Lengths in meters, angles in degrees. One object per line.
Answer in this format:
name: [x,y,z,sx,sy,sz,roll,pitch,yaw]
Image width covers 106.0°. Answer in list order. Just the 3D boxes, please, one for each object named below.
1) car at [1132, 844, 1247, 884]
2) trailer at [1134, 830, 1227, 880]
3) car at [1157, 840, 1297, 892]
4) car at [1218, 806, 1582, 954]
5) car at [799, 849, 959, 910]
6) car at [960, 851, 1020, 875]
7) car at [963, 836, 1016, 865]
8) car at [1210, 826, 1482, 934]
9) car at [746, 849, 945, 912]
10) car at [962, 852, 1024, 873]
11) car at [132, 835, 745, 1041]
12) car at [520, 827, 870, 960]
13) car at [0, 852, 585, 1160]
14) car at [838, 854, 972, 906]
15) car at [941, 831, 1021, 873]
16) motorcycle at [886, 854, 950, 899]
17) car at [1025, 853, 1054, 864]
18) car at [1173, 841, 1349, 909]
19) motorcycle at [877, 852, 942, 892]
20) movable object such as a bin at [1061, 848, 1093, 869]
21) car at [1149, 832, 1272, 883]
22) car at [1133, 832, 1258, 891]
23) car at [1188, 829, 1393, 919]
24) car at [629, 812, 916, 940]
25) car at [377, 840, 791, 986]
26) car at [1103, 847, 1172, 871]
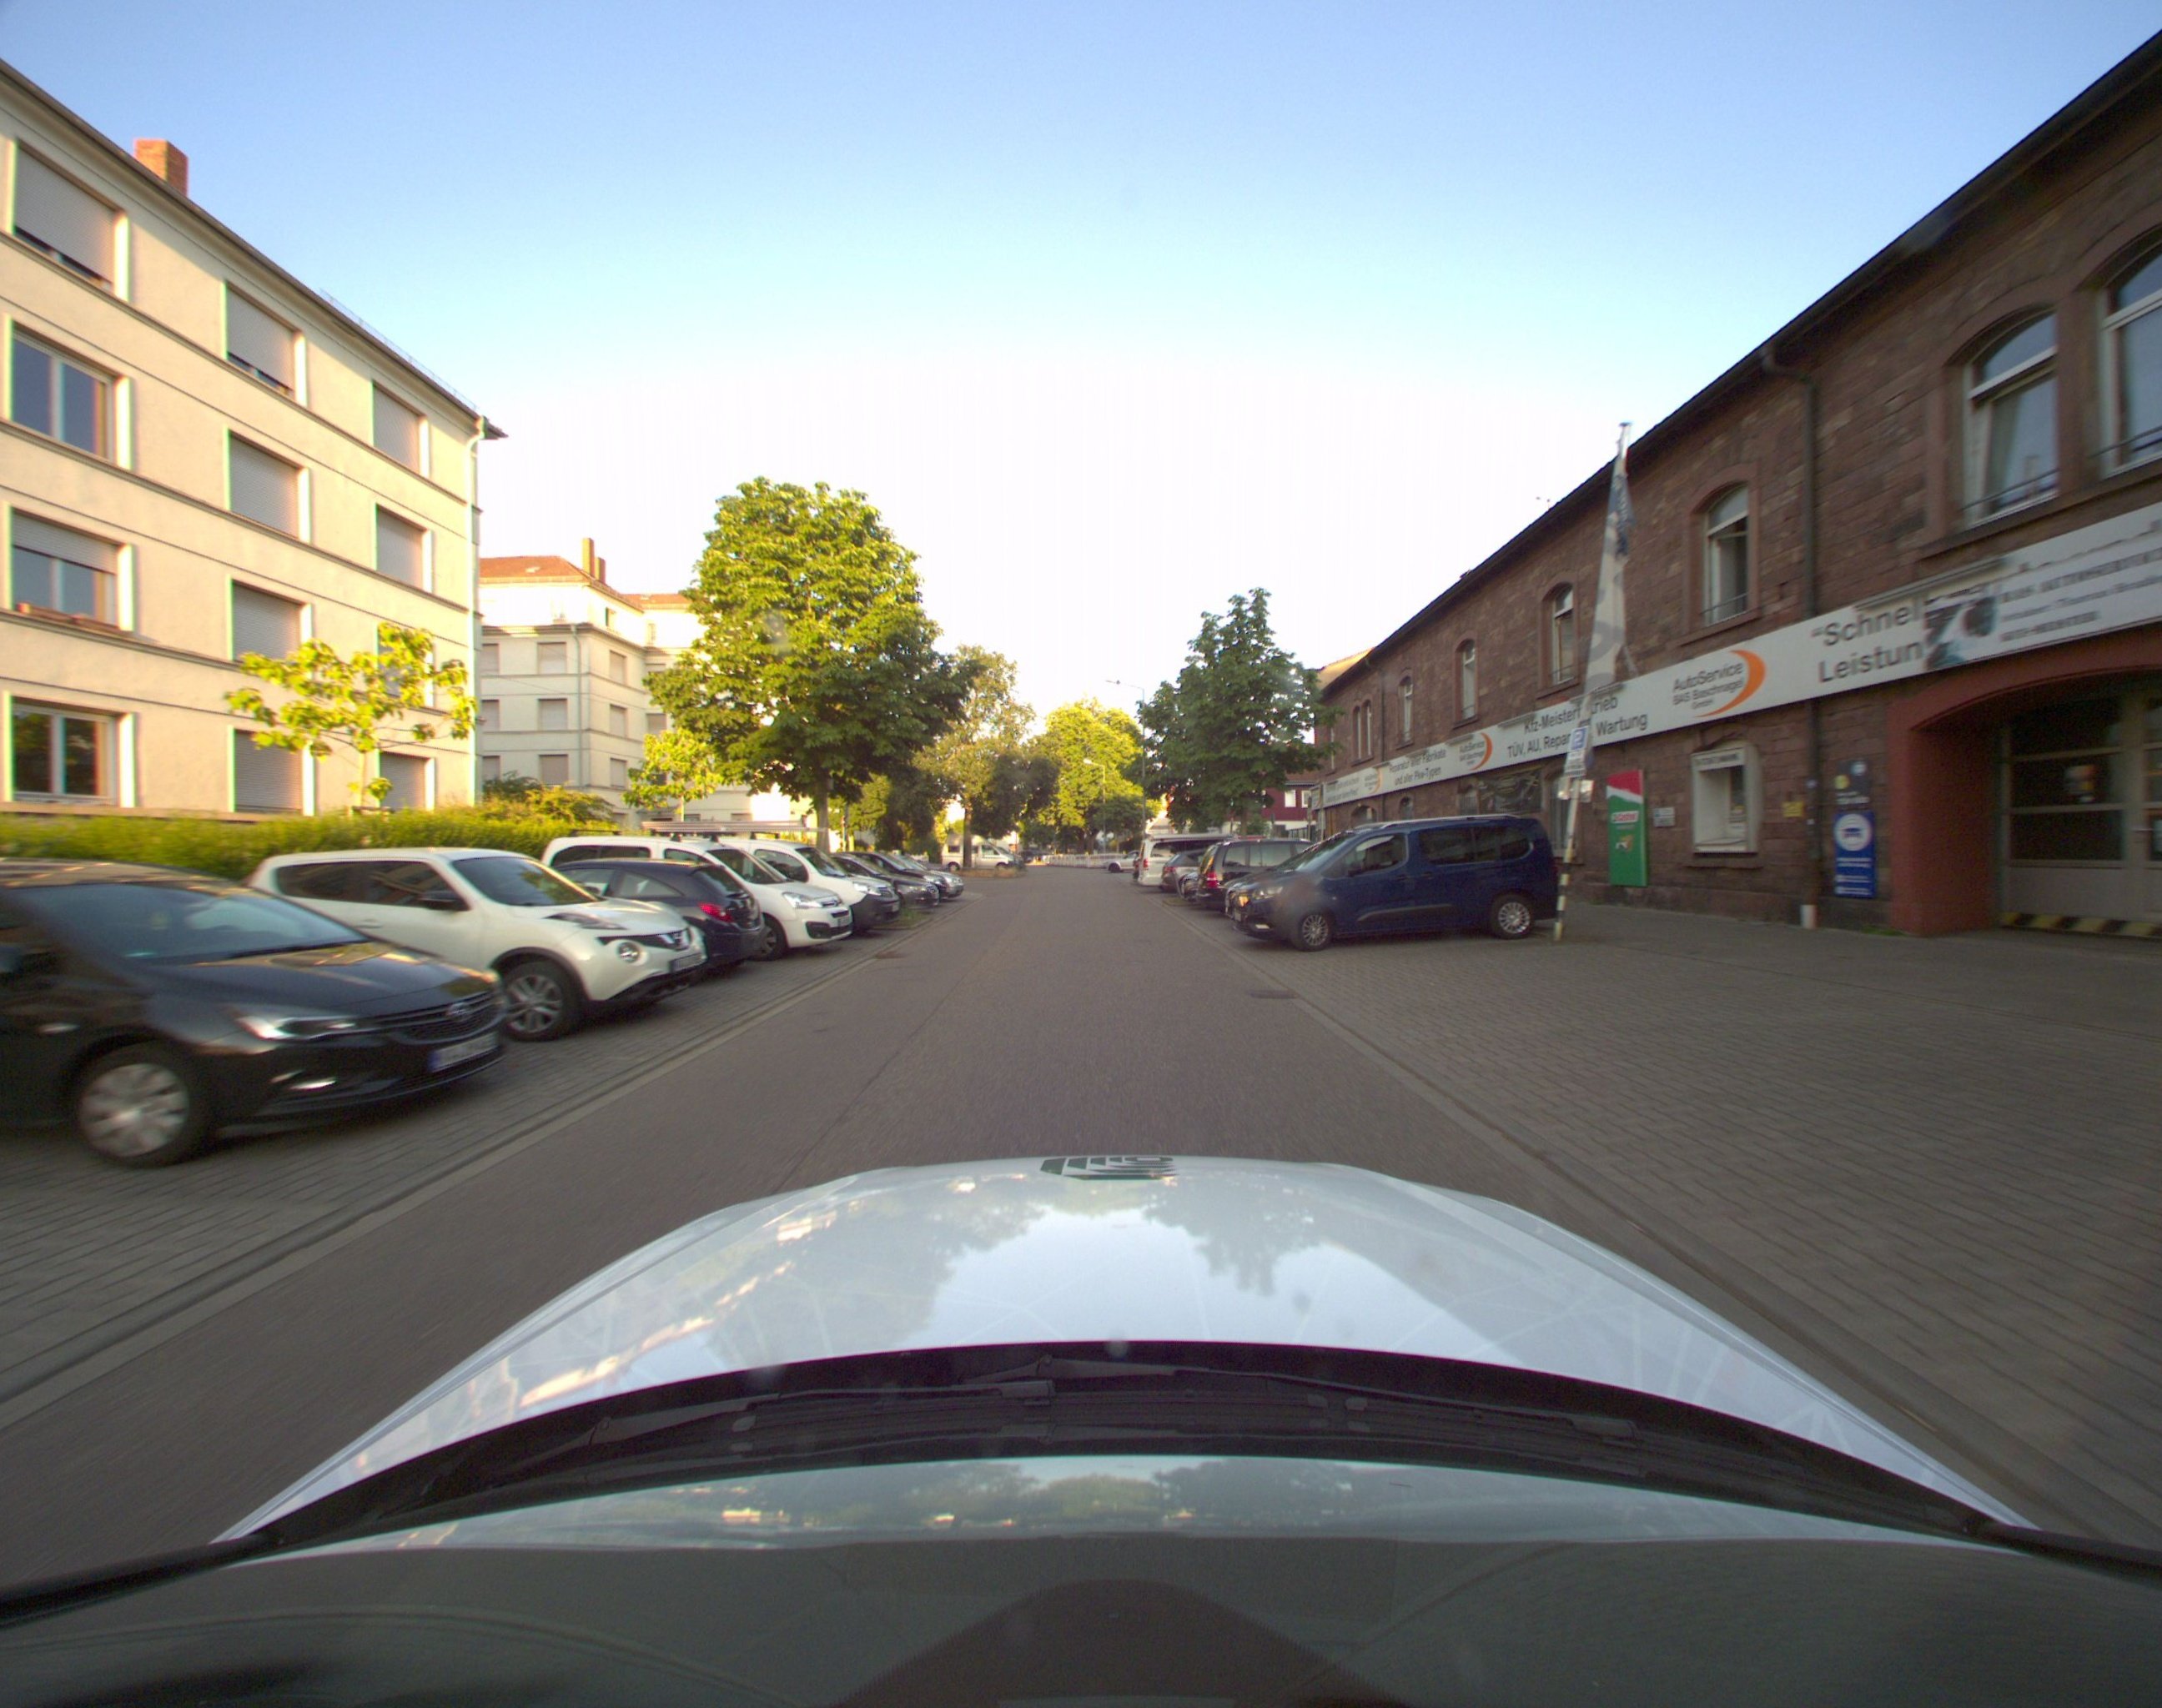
car: [4.296,0.403,32.726,4.413,1.499,1.773,-1,0,-1]
trailer: [4.507,0.042,37.304,3.974,2.187,1.999,-1,0,-1]
car: [4.432,0.350,25.120,3.974,1.510,1.776,-1,0,-1]
car: [4.717,0.356,12.599,4.772,1.753,2.017,-4,1,-1]
car: [-5.547,0.690,22.699,3.972,1.583,1.729,-1,0,1]
car: [-7.297,0.699,65.423,4.670,1.873,1.995,-1,0,-8]
car: [-7.933,-0.278,70.614,4.498,2.431,1.995,-1,0,-8]
car: [4.842,0.433,15.334,4.402,1.574,1.981,-4,1,-1]
car: [-5.711,0.635,20.148,4.310,1.405,1.852,1,0,1]
car: [-6.176,0.599,57.619,4.232,1.394,1.683,0,0,-2]
car: [-5.634,0.679,7.568,4.228,1.621,1.813,1,0,0]
car: [-5.723,0.550,12.485,4.404,1.802,1.945,1,0,2]
car: [-5.822,0.758,4.954,4.396,1.452,1.826,2,0,-2]
car: [-5.336,0.788,25.036,3.699,1.506,1.690,-1,0,1]
car: [-6.256,-0.106,51.372,4.715,2.569,2.000,-1,0,0]
motorcycle: [-5.344,0.735,26.825,1.982,1.436,0.720,-1,0,-5]
car: [-6.171,0.642,121.961,4.001,1.651,1.753,-1,0,-20]
car: [4.413,0.489,20.354,3.937,1.565,1.818,-1,0,-4]
motorcycle: [-6.332,0.669,30.145,2.222,1.436,0.774,-1,0,2]
movable object such as a bin: [-0.544,0.537,95.767,2.632,2.403,5.171,-1,0,-14]
car: [4.791,0.145,30.527,4.287,1.799,1.904,-1,0,-1]
car: [3.853,0.237,27.966,3.975,1.904,1.999,-1,0,-1]
car: [4.515,0.418,17.993,3.976,1.618,1.894,-4,0,-1]
car: [-5.598,0.355,15.179,4.493,2.070,2.002,2,1,3]
car: [-5.946,0.666,10.124,3.975,1.484,1.755,3,0,-1]
car: [3.571,0.303,51.296,3.956,1.488,1.821,-1,0,16]
